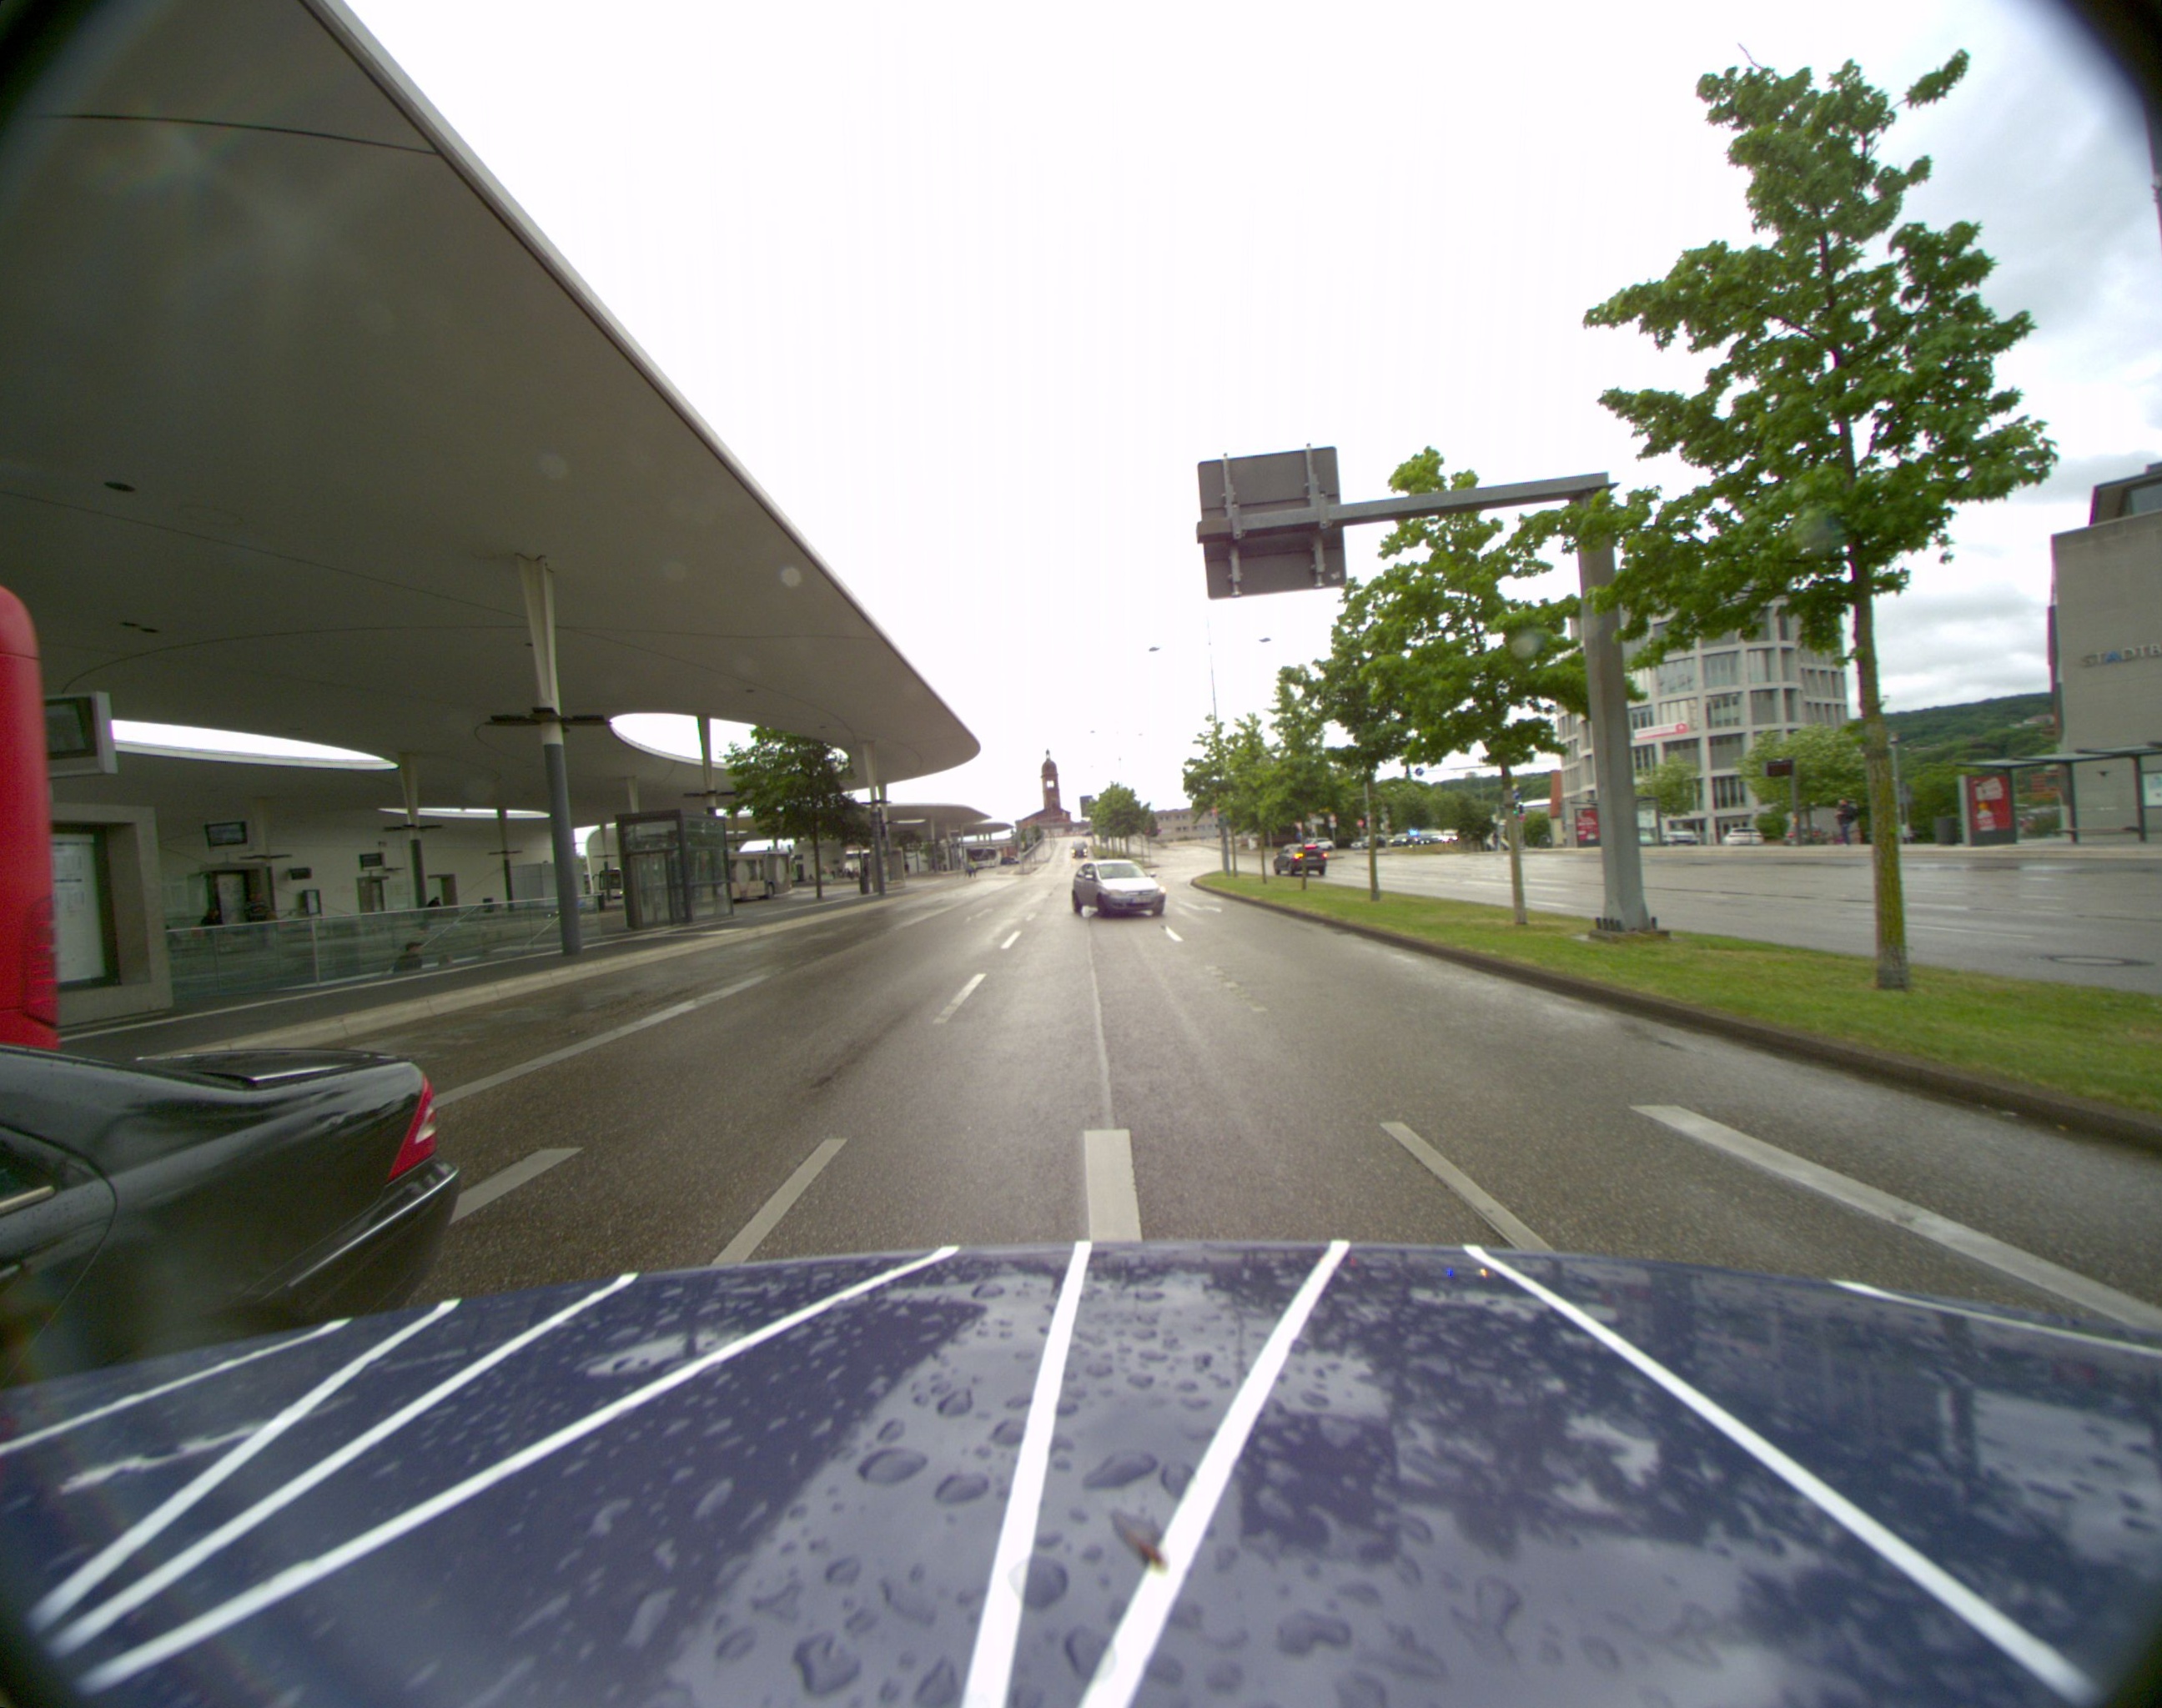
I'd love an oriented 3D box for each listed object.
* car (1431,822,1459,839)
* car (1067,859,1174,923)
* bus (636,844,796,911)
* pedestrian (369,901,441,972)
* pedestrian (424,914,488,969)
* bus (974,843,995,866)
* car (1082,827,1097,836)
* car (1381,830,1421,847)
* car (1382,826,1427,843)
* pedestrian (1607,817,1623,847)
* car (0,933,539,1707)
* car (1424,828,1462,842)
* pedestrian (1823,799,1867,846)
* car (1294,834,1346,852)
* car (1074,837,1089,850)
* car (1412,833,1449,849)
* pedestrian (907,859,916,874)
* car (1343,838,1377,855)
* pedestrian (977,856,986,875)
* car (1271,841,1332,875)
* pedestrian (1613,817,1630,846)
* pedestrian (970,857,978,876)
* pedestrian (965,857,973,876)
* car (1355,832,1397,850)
[{"bbox_3d":[46.700,-3.050,97.472,1.995,2.002,4.008,-2,1,44],"label":"car"},{"bbox_3d":[0.931,0.894,20.146,1.629,1.450,3.730,-3,0,-16],"label":"car"},{"bbox_3d":[-19.790,1.088,42.548,3.003,3.088,12.352,-3,0,-1],"label":"bus"},{"bbox_3d":[-12.838,1.556,14.450,0.693,1.244,0.669,-3,1,1],"label":"pedestrian"},{"bbox_3d":[-11.917,1.656,14.506,0.622,0.957,0.638,-3,1,1],"label":"pedestrian"},{"bbox_3d":[-14.306,0.063,113.265,2.675,3.111,9.712,-3,0,-5],"label":"bus"},{"bbox_3d":[2.050,-5.213,177.594,2.002,1.765,3.992,-3,1,-24],"label":"car"},{"bbox_3d":[35.929,-1.742,85.214,4.925,1.702,2.190,-3,1,-43],"label":"car"},{"bbox_3d":[43.653,-2.620,102.674,2.315,2.002,5.021,-3,1,-41],"label":"car"},{"bbox_3d":[29.502,-1.215,42.012,0.504,1.625,0.502,-2,1,1],"label":"pedestrian"},{"bbox_3d":[-2.830,1.157,0.351,1.750,1.472,4.434,-7,2,1],"label":"car"},{"bbox_3d":[49.404,-2.589,103.759,2.196,1.702,4.912,-3,0,-10],"label":"car"},{"bbox_3d":[29.228,-1.197,29.068,0.787,1.750,0.972,-3,1,-28],"label":"pedestrian"},{"bbox_3d":[25.627,-1.187,81.380,4.920,1.702,2.193,-3,1,-19],"label":"car"},{"bbox_3d":[0.073,-1.376,101.404,1.704,1.656,3.998,-3,1,-2],"label":"car"},{"bbox_3d":[40.927,-1.523,88.873,4.925,1.702,2.190,-3,1,-43],"label":"car"},{"bbox_3d":[-18.960,1.366,84.983,0.723,1.621,0.753,-3,1,0],"label":"pedestrian"},{"bbox_3d":[32.350,-0.859,87.994,4.007,1.783,1.995,-3,0,-43],"label":"car"},{"bbox_3d":[-8.573,1.021,65.488,0.557,1.614,0.552,-3,1,1],"label":"pedestrian"},{"bbox_3d":[11.660,0.189,40.485,1.826,1.630,4.599,-3,0,0],"label":"car"},{"bbox_3d":[30.051,-1.242,42.245,0.520,1.625,0.536,-2,1,1],"label":"pedestrian"},{"bbox_3d":[-9.212,1.047,65.572,0.557,1.614,0.552,-3,1,1],"label":"pedestrian"},{"bbox_3d":[-9.686,1.084,65.764,0.576,1.614,0.588,-3,1,1],"label":"pedestrian"},{"bbox_3d":[31.623,-1.444,81.381,4.925,1.702,2.190,-3,1,-43],"label":"car"}]
